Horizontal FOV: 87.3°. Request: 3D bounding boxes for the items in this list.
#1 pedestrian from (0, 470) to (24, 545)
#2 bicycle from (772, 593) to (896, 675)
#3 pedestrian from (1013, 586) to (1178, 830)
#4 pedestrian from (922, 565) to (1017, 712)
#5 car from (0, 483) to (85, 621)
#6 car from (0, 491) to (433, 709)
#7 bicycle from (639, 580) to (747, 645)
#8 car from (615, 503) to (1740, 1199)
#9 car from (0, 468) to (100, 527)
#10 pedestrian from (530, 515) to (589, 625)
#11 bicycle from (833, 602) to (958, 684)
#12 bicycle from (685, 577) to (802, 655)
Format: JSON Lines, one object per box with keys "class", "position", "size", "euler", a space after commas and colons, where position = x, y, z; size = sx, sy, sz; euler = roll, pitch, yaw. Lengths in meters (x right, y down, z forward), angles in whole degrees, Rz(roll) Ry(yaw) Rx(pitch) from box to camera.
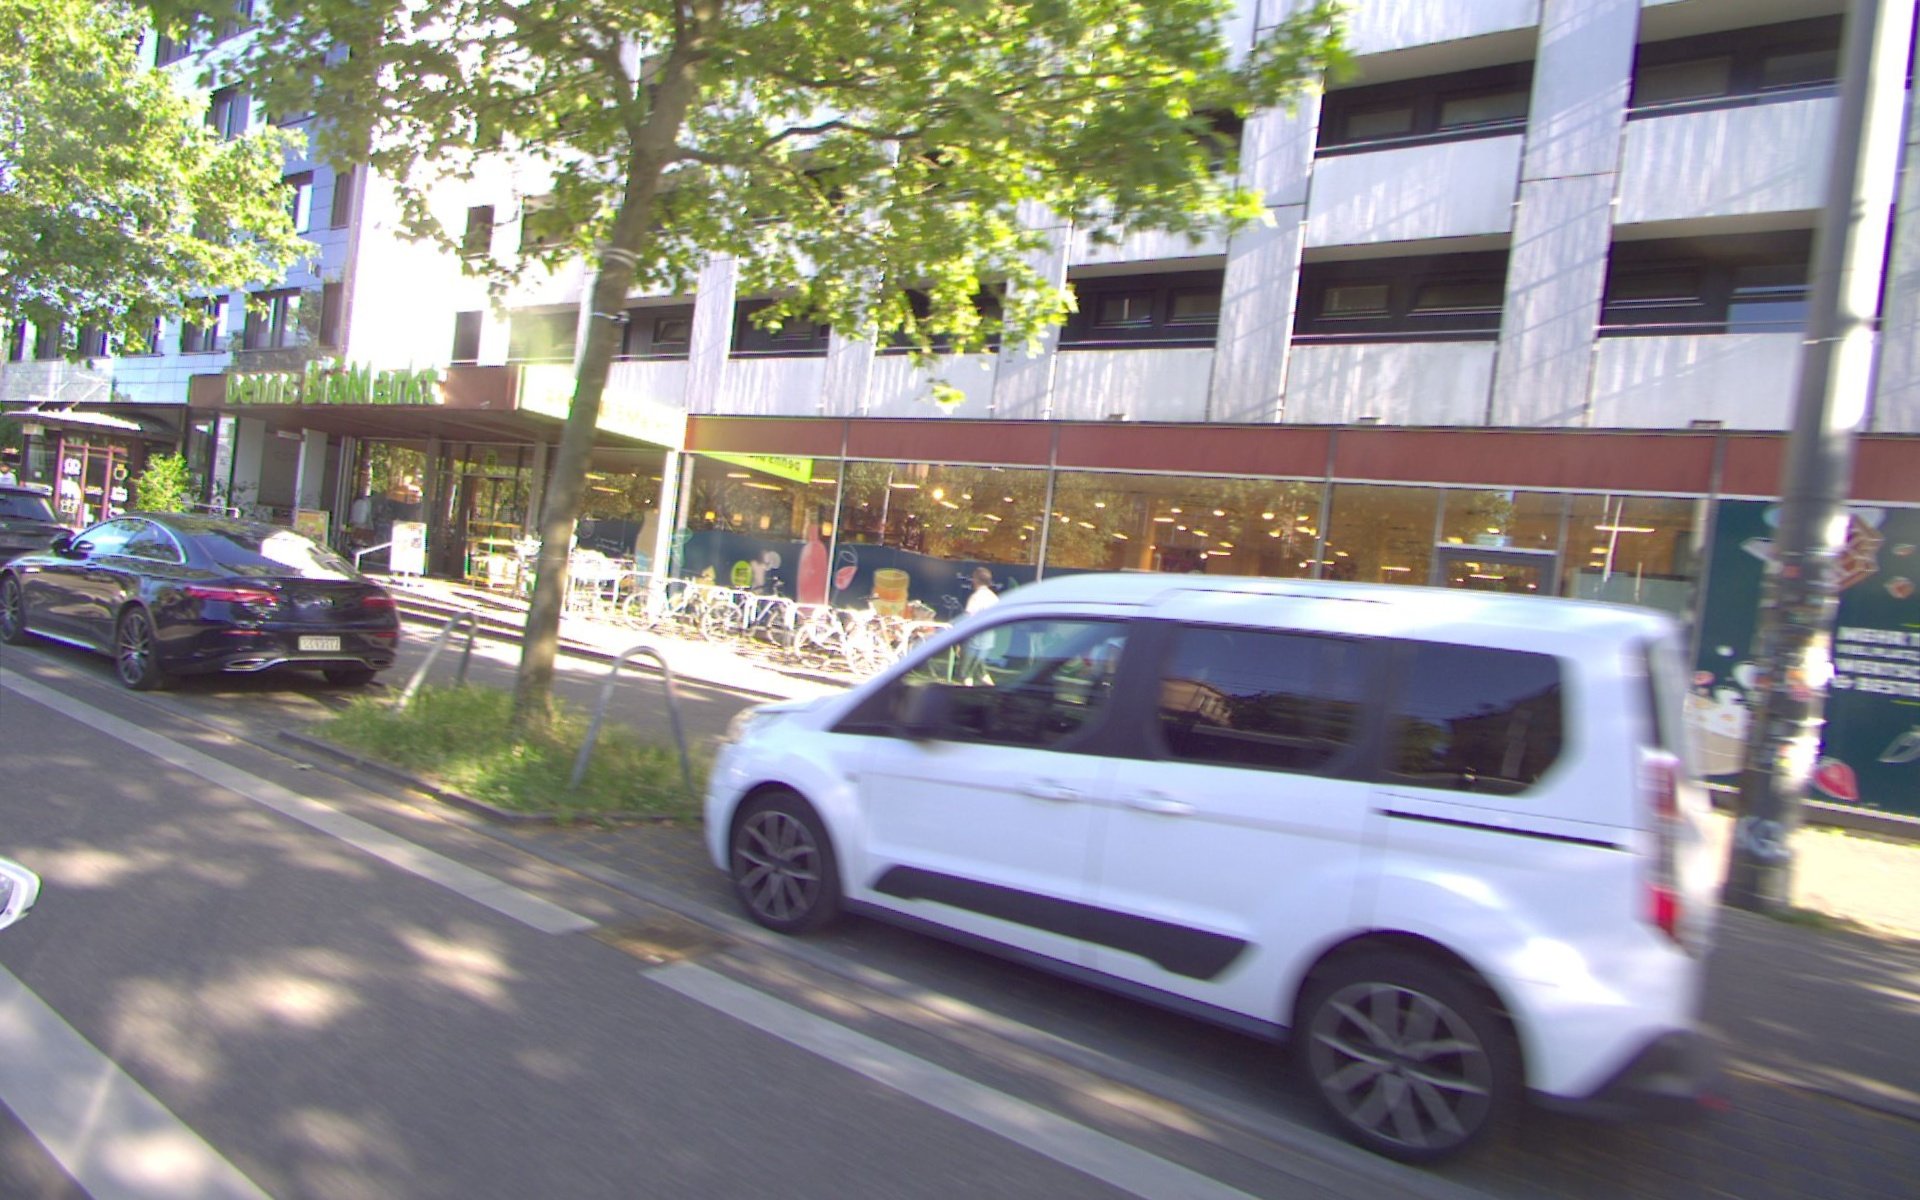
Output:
{"class": "pedestrian", "position": [-23.542, -2.283, 24.666], "size": [0.864, 1.766, 0.560], "euler": [7, 1, 31]}
{"class": "bicycle", "position": [-1.888, 0.528, 15.171], "size": [1.686, 1.070, 0.580], "euler": [5, 4, -32]}
{"class": "pedestrian", "position": [1.017, 0.768, 7.531], "size": [0.854, 1.634, 0.697], "euler": [7, 3, 34]}
{"class": "pedestrian", "position": [0.113, 0.468, 12.479], "size": [0.867, 1.701, 0.557], "euler": [7, 3, 31]}
{"class": "car", "position": [-12.967, -0.774, 12.840], "size": [3.934, 1.569, 1.567], "euler": [7, 0, 32]}
{"class": "car", "position": [-7.198, -0.060, 9.436], "size": [4.622, 1.435, 1.764], "euler": [7, -1, 31]}
{"class": "bicycle", "position": [-4.596, 0.221, 17.345], "size": [1.634, 0.929, 0.580], "euler": [5, 5, -32]}
{"class": "car", "position": [0.637, 0.697, 4.629], "size": [4.320, 1.815, 1.765], "euler": [7, 1, 32]}
{"class": "car", "position": [-37.991, -4.221, 40.380], "size": [1.881, 2.011, 4.897], "euler": [7, 2, 32]}
{"class": "pedestrian", "position": [-6.654, -0.502, 16.746], "size": [0.602, 1.739, 0.612], "euler": [6, 4, -3]}
{"class": "bicycle", "position": [-0.938, 0.637, 14.788], "size": [1.686, 1.070, 0.580], "euler": [4, 3, -32]}
{"class": "bicycle", "position": [-3.536, 0.270, 16.468], "size": [1.686, 1.070, 0.580], "euler": [5, 5, -32]}
